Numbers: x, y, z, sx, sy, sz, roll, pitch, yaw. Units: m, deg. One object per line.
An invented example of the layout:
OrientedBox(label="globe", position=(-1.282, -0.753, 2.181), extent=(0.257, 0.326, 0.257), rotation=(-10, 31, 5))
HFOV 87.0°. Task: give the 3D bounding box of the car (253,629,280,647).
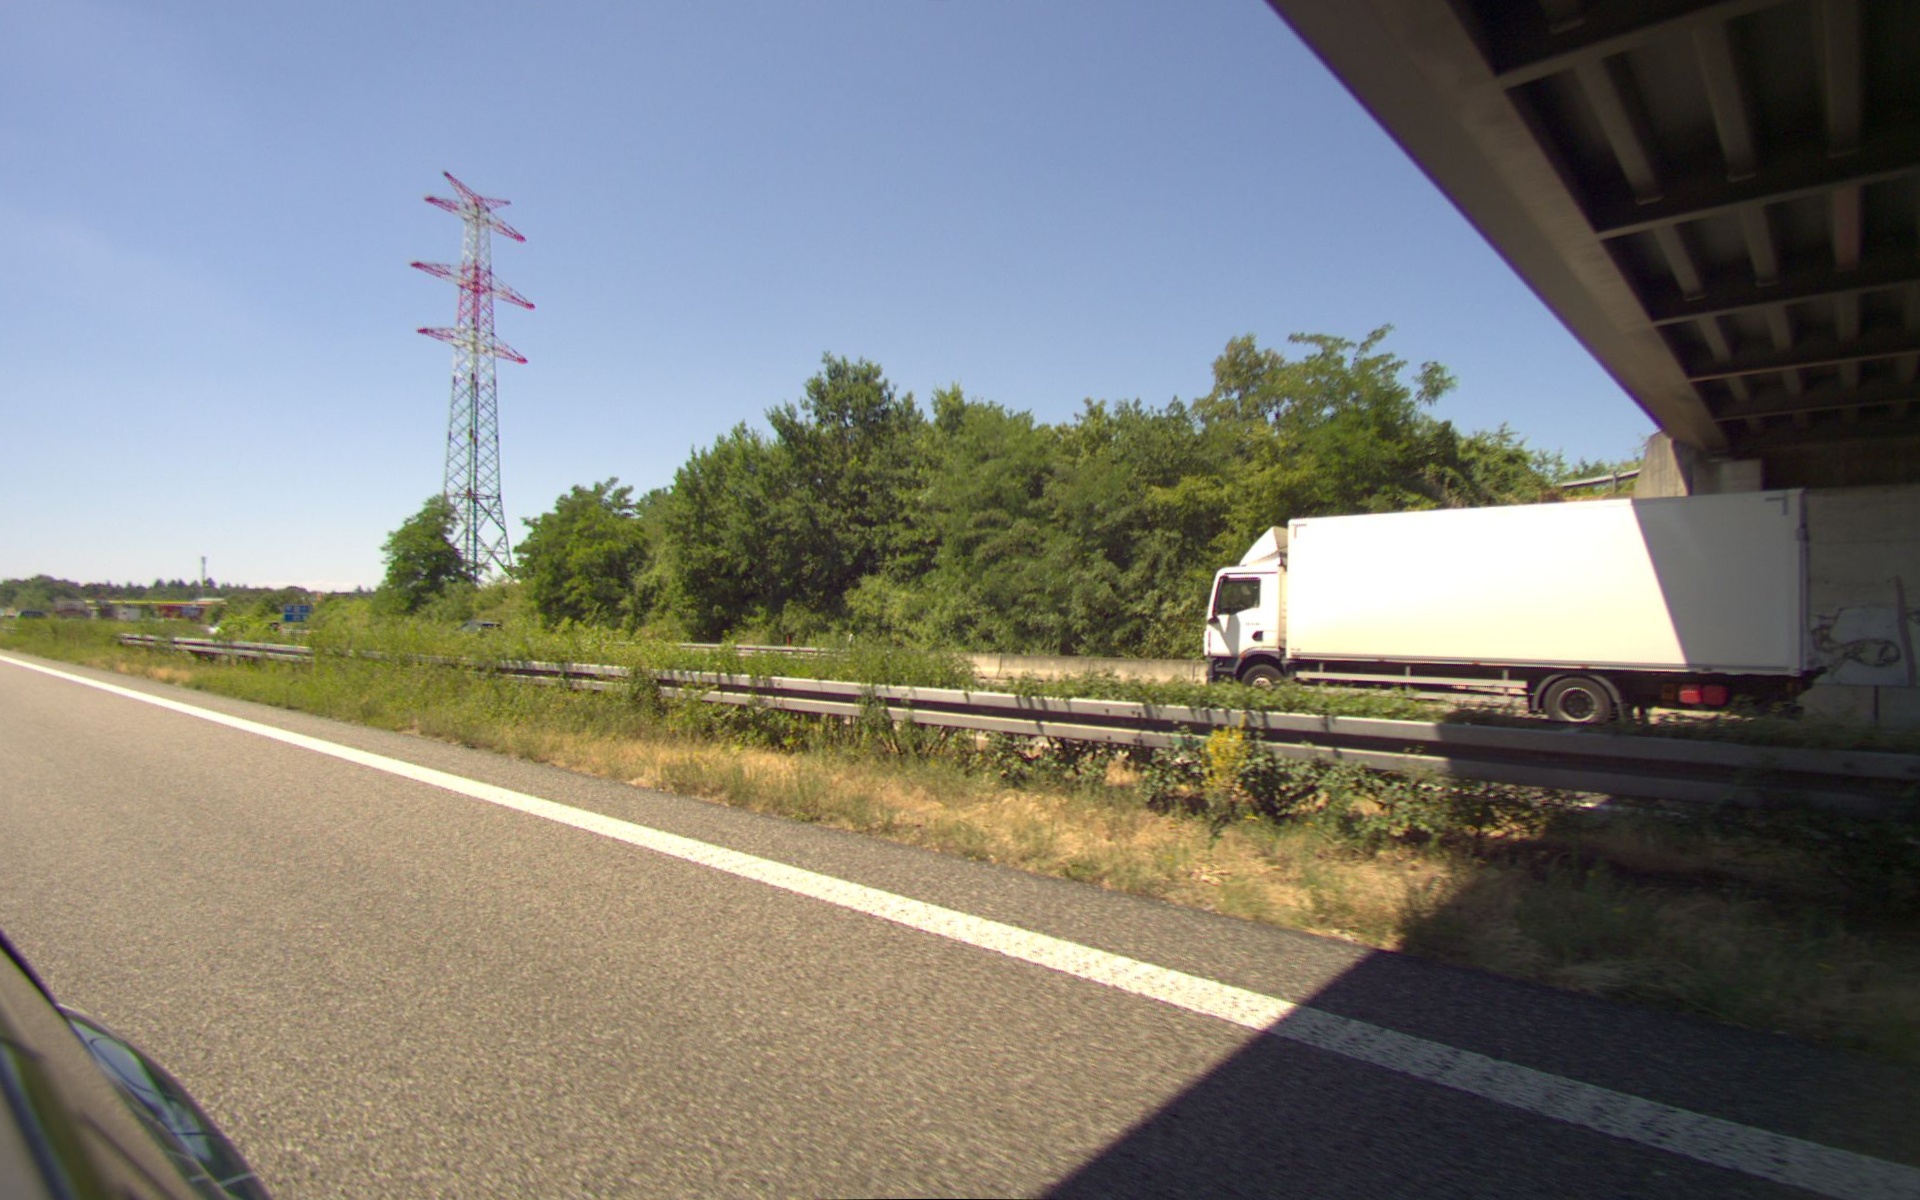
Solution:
OrientedBox(label="car", position=(-68.035, 3.701, 99.244), extent=(3.362, 1.625, 1.359), rotation=(-1, 0, 42))

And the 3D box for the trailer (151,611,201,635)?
OrientedBox(label="trailer", position=(-145.760, 4.193, 188.413), extent=(3.078, 4.086, 11.345), rotation=(-1, 0, -15))

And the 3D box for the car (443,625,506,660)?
OrientedBox(label="car", position=(-27.192, 2.348, 56.606), extent=(4.403, 1.781, 1.682), rotation=(-1, 0, 43))

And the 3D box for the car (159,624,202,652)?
OrientedBox(label="car", position=(-53.592, 2.580, 69.529), extent=(4.235, 1.781, 1.682), rotation=(-1, 0, 43))

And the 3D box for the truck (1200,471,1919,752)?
OrientedBox(label="truck", position=(9.351, 0.286, 17.206), extent=(10.184, 3.564, 2.778), rotation=(-1, -3, 42))

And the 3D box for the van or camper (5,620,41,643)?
OrientedBox(label="van or camper", position=(-81.816, 2.728, 88.327), extent=(4.872, 1.826, 1.825), rotation=(-1, 0, 41))

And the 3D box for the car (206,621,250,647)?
OrientedBox(label="car", position=(-54.997, 2.521, 76.013), extent=(4.255, 1.851, 1.784), rotation=(-1, 0, 41))
